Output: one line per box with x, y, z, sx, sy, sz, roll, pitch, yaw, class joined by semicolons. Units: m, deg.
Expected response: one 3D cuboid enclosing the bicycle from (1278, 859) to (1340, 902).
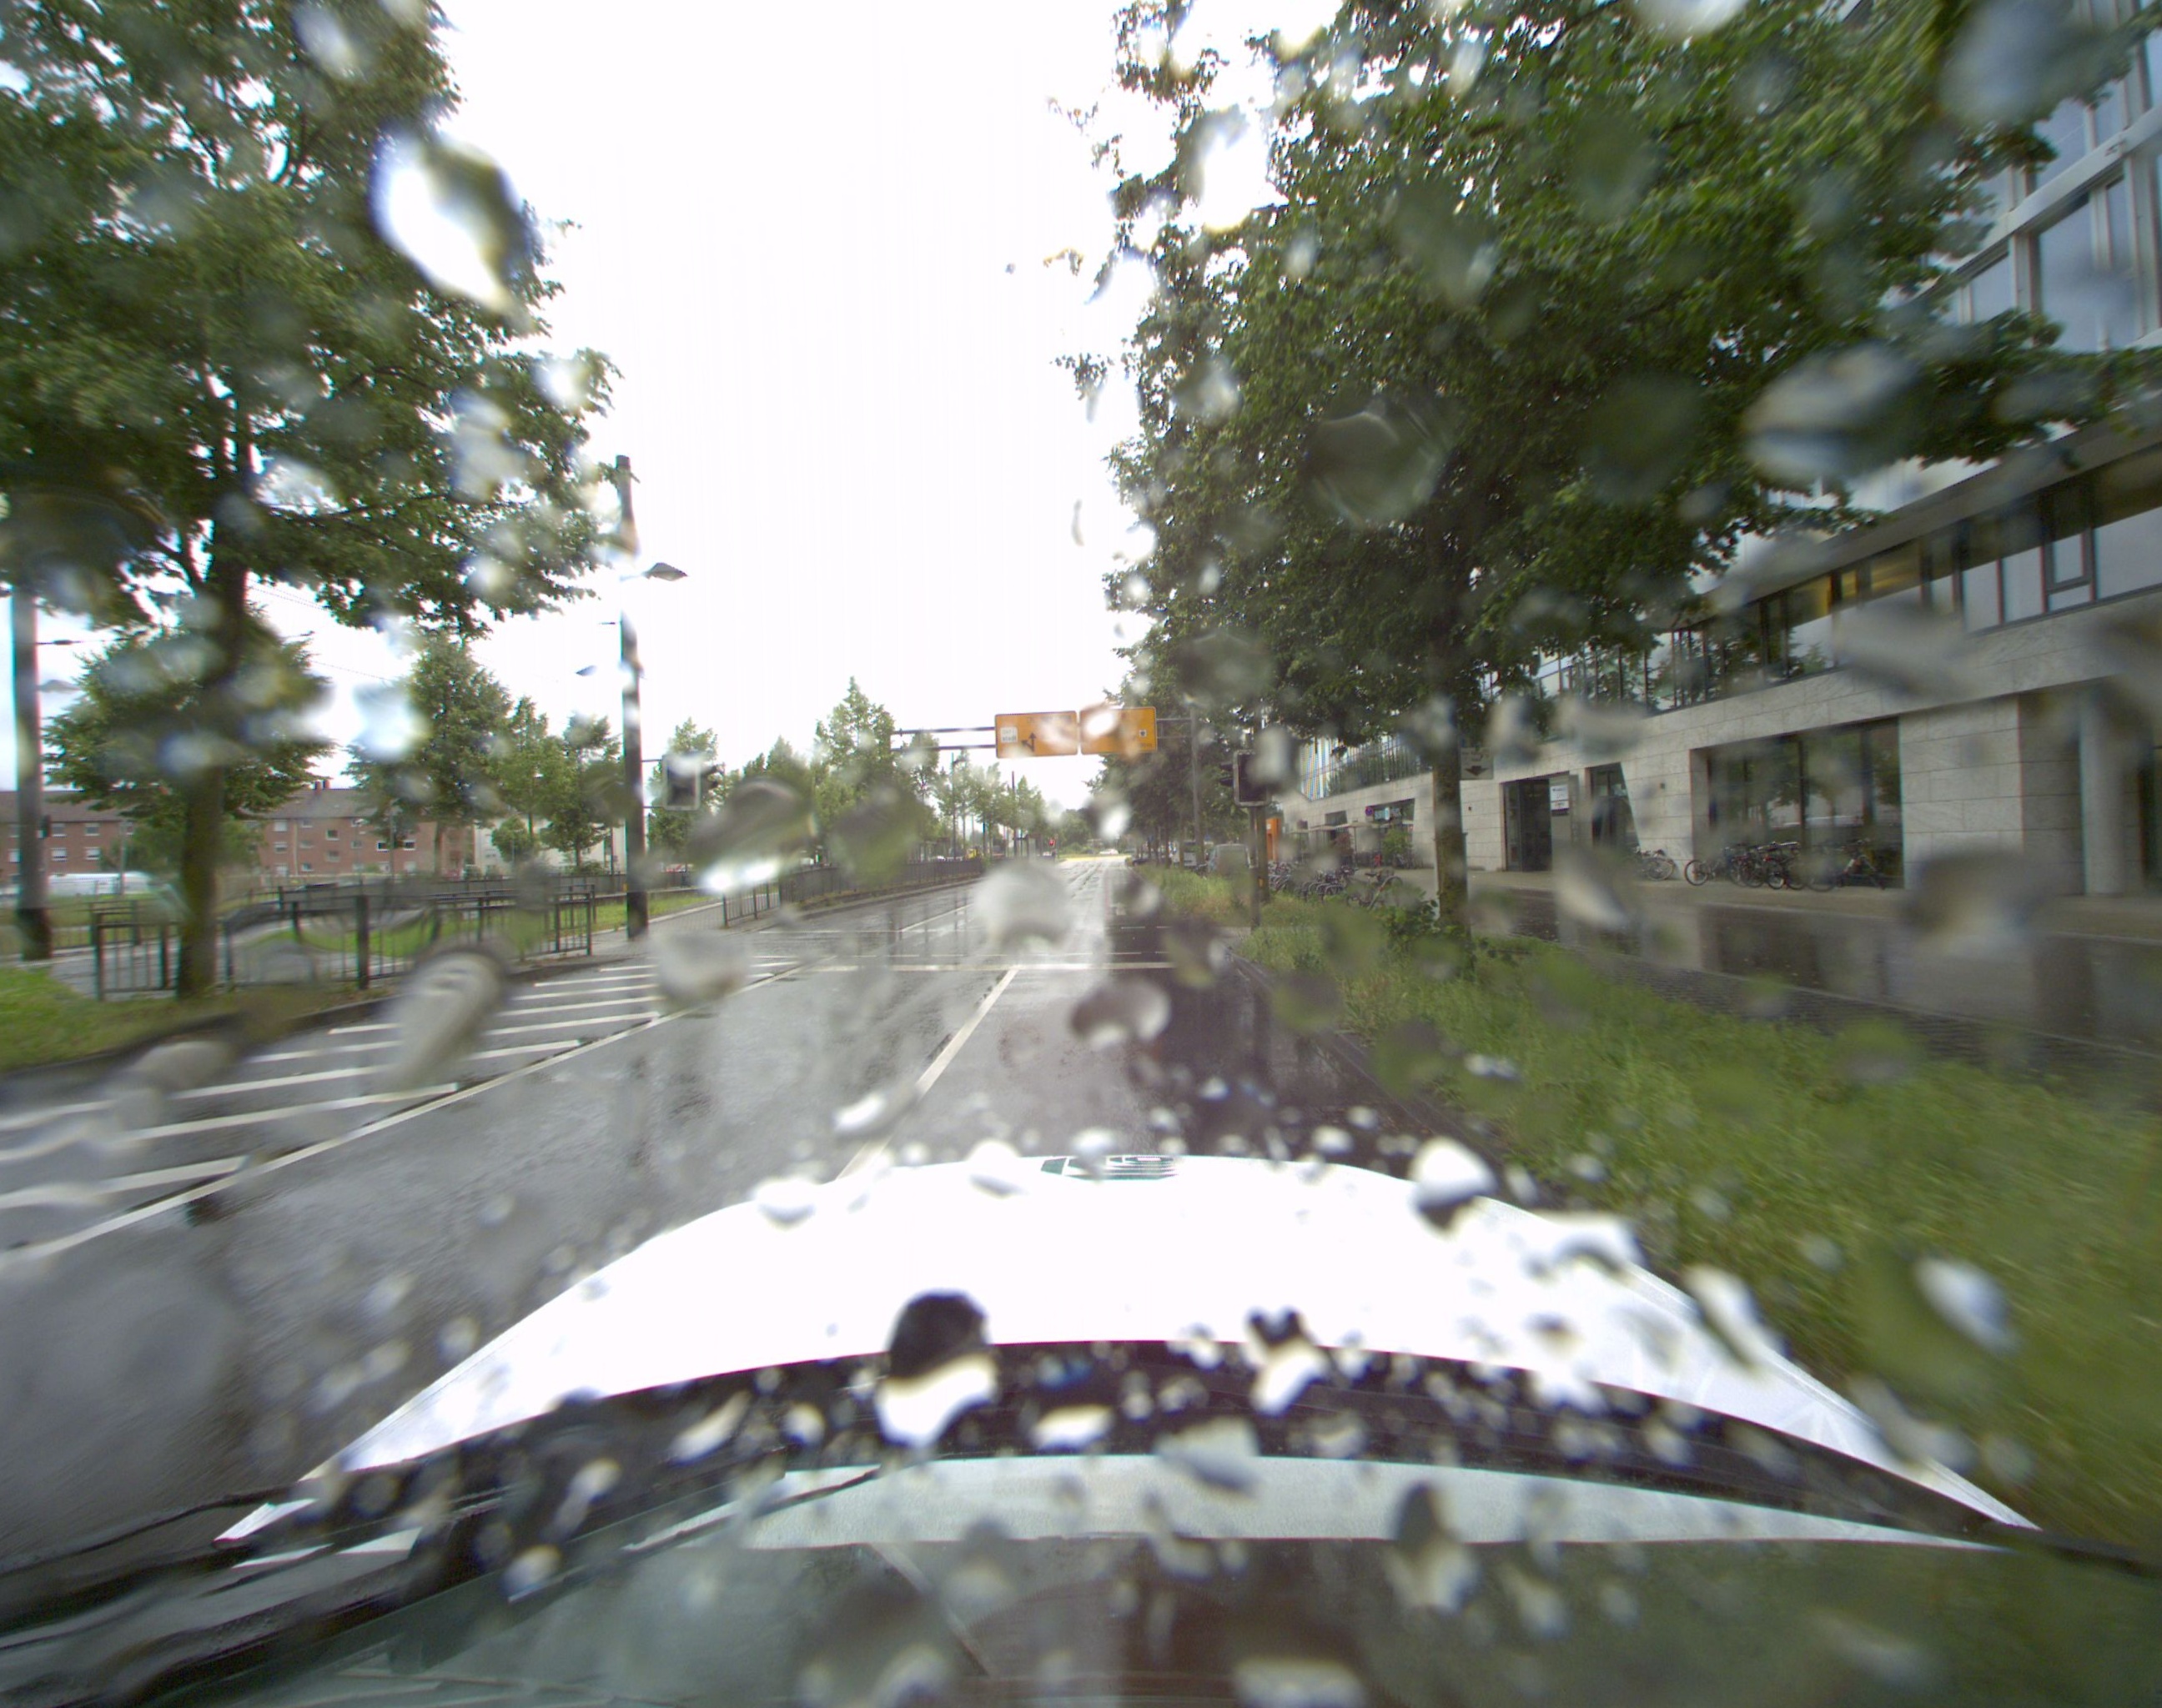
5.793;0.659;20.711;1.448;1.017;0.349;-2;0;-1;bicycle

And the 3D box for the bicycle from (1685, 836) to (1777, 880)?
16.441;0.094;20.619;1.798;1.028;0.541;-2;0;4;bicycle

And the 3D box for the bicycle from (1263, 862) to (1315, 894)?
5.926;0.691;23.221;1.401;0.849;0.275;-2;0;-1;bicycle

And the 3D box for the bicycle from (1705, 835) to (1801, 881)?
16.380;0.096;19.865;1.798;1.028;0.541;-2;0;4;bicycle

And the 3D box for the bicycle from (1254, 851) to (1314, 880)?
6.499;0.360;26.104;1.810;0.849;0.275;-2;0;1;bicycle

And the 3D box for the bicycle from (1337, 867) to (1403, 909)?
6.181;0.729;17.458;1.279;0.849;0.276;-2;0;13;bicycle

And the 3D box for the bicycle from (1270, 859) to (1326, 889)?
6.473;0.595;24.298;1.609;0.849;0.275;-1;0;1;bicycle

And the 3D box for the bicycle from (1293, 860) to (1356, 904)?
5.949;0.676;19.932;1.430;1.017;0.349;-2;0;8;bicycle

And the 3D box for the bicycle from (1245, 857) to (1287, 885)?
6.076;0.558;26.811;1.284;0.849;0.275;-2;0;1;bicycle

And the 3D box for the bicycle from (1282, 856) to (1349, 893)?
6.279;0.548;21.802;1.703;0.948;0.313;-1;0;-5;bicycle

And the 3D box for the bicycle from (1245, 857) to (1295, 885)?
6.143;0.557;26.507;1.517;0.849;0.277;-2;0;1;bicycle

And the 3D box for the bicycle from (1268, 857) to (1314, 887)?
6.347;0.531;24.649;1.284;0.849;0.275;-2;0;1;bicycle

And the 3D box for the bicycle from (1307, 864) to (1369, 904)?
5.776;0.679;18.344;1.282;0.849;0.276;-2;0;6;bicycle

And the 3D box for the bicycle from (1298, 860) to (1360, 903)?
6.175;0.691;20.301;1.431;1.017;0.349;-2;0;6;bicycle

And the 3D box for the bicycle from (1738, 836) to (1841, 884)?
16.179;0.130;18.618;1.798;1.028;0.541;-2;0;4;bicycle

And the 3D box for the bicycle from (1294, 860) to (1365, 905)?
5.931;0.682;19.473;1.565;1.017;0.409;-2;0;8;bicycle

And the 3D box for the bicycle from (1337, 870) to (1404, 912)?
6.081;0.778;17.161;1.279;0.849;0.276;-2;0;13;bicycle

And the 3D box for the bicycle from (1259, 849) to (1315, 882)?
6.503;0.366;25.741;1.637;0.988;0.321;-2;0;1;bicycle

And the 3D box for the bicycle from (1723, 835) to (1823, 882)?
16.308;0.102;19.218;1.798;1.028;0.541;-2;0;4;bicycle

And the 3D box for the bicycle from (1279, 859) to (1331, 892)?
6.495;0.623;23.630;1.405;0.897;0.275;-2;0;-1;bicycle

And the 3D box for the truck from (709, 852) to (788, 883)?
-58.328;2.306;143.046;12.513;4.591;3.375;-3;3;-25;truck

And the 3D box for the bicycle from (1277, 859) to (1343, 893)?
6.231;0.585;22.162;1.702;0.849;0.313;-2;0;-2;bicycle

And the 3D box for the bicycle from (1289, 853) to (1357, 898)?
6.396;0.562;21.497;1.703;1.103;0.283;-2;0;-5;bicycle

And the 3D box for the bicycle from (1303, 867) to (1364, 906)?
5.771;0.742;18.660;1.282;0.858;0.276;-2;0;6;bicycle

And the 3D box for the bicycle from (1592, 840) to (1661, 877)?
16.136;0.141;24.109;1.686;1.028;0.423;-2;0;4;bicycle

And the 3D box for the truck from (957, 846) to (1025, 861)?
-20.292;-0.091;183.430;14.935;3.147;3.493;-1;0;-26;truck

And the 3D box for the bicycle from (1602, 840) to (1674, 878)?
16.132;0.145;23.598;1.742;1.028;0.412;-2;0;4;bicycle

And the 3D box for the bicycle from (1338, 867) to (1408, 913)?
5.915;0.738;16.505;1.279;0.874;0.302;-2;0;13;bicycle

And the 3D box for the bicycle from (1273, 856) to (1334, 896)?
6.225;0.610;22.797;1.608;1.053;0.296;-2;0;-1;bicycle

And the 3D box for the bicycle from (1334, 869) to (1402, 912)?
5.932;0.763;16.890;1.279;0.832;0.276;-2;0;13;bicycle

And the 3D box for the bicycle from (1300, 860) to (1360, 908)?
5.817;0.698;19.076;1.280;1.074;0.276;-2;0;10;bicycle

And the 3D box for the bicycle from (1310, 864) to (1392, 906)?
5.952;0.682;17.996;1.663;0.849;0.276;-2;0;6;bicycle

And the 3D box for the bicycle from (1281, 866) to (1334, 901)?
5.855;0.756;21.066;1.286;0.849;0.275;-2;0;-4;bicycle

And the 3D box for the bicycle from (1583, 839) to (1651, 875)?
16.188;0.092;24.615;1.686;1.028;0.423;-2;0;4;bicycle
